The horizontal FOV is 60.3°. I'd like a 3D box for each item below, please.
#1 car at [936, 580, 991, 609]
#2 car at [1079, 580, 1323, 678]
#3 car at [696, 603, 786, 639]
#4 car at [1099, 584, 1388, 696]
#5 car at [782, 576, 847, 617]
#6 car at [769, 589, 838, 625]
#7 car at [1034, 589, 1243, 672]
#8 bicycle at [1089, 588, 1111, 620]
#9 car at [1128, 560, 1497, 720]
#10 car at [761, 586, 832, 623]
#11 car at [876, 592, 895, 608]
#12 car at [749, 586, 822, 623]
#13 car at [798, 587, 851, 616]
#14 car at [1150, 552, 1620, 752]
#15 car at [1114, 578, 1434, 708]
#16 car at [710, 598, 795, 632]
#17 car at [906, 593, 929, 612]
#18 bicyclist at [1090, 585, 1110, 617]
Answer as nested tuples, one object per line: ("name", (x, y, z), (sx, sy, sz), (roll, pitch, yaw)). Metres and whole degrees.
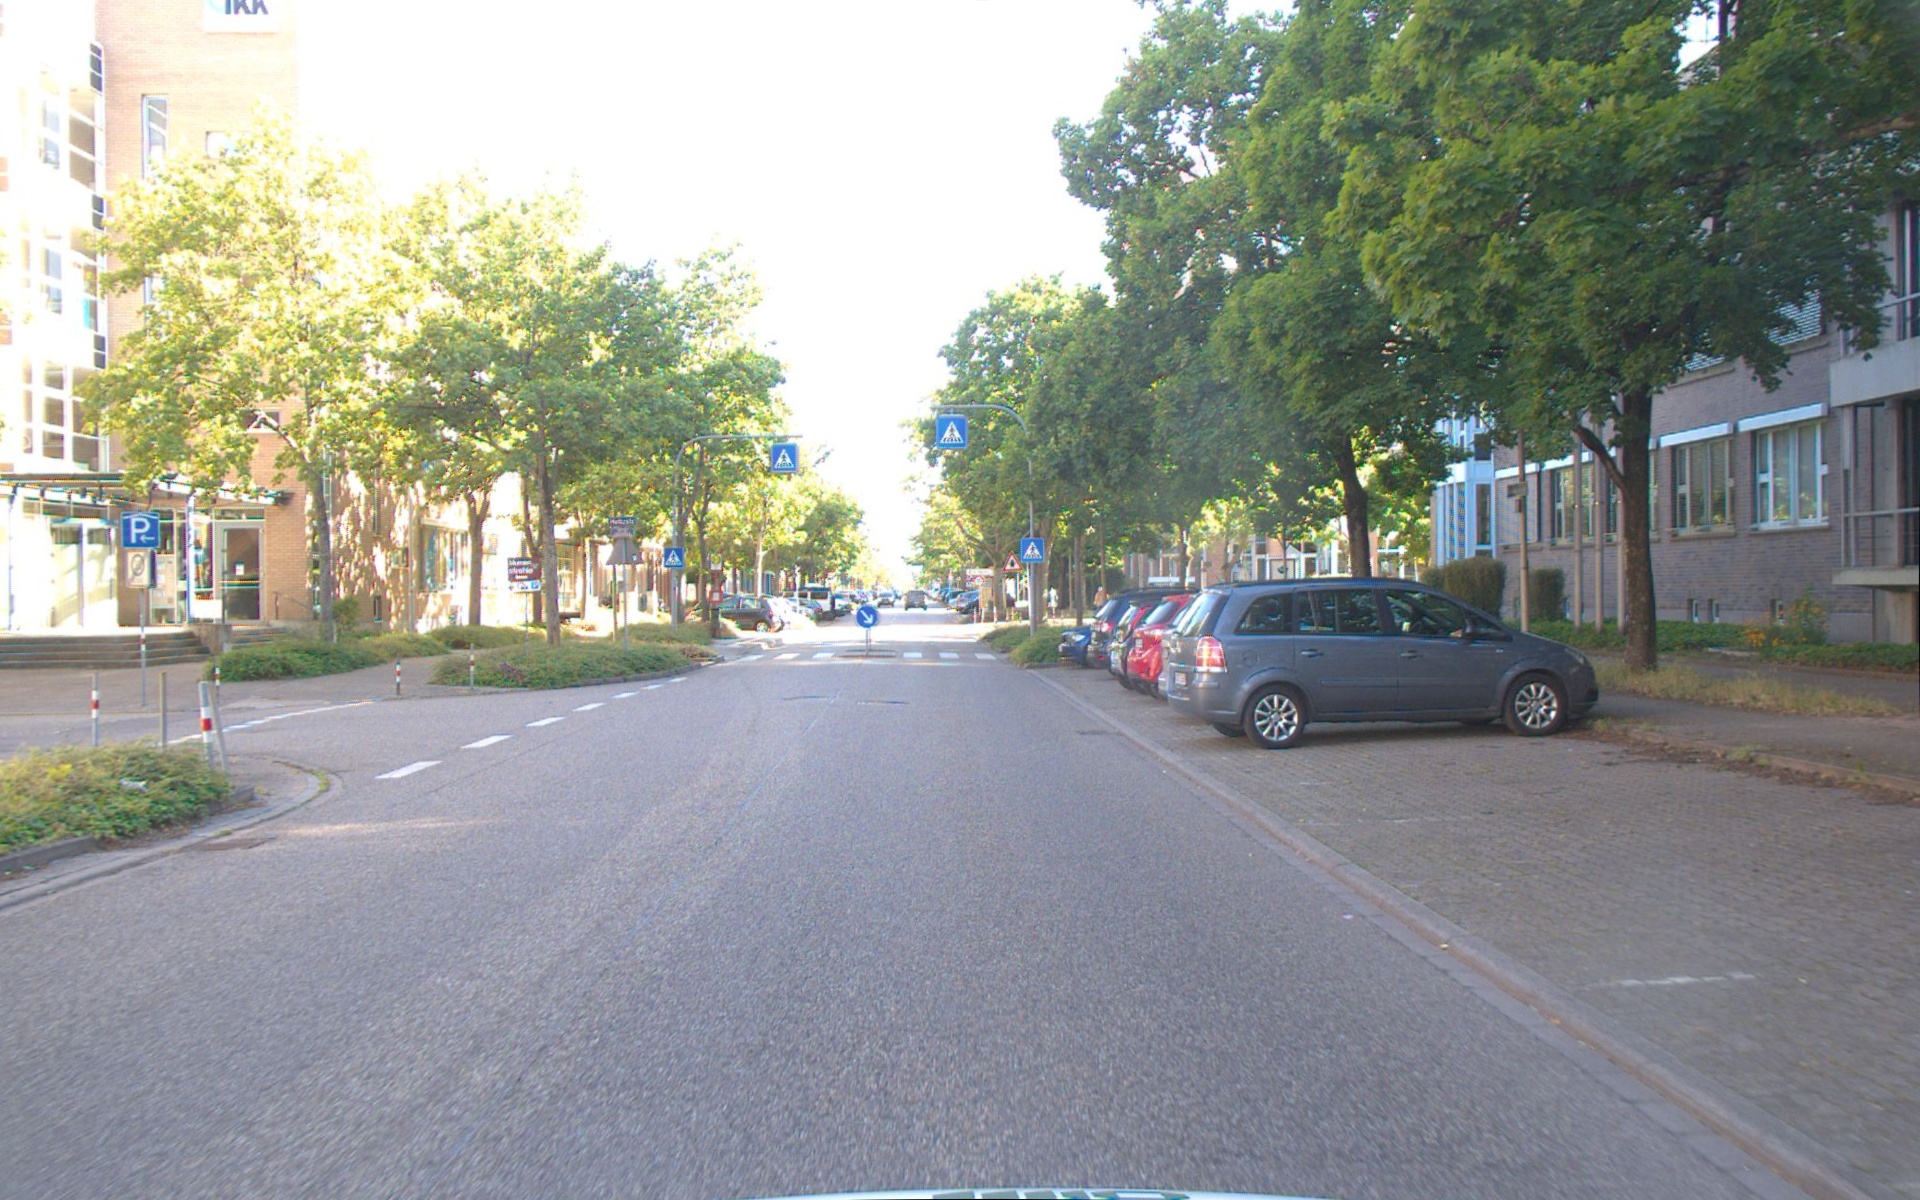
("car", (0.260, -0.405, 121.186), (3.908, 2.049, 1.999), (-1, 0, -4))
("car", (4.398, 0.512, 30.522), (4.109, 1.562, 1.811), (-3, 0, -5))
("car", (-9.407, 0.908, 71.130), (3.775, 1.499, 1.810), (1, 0, -7))
("car", (4.380, 0.599, 25.920), (4.109, 1.474, 1.811), (-3, 0, -5))
("car", (-9.364, -0.218, 106.636), (3.903, 2.586, 1.863), (0, 0, 3))
("car", (-9.566, 0.409, 101.356), (3.904, 2.049, 2.001), (-2, 0, 2))
("car", (3.751, 0.630, 35.163), (4.109, 1.498, 1.811), (-3, 0, -5))
("bicycle", (5.539, 0.148, 65.368), (0.669, 1.236, 1.978), (-1, 0, 9))
("car", (4.317, 0.472, 20.638), (4.109, 1.698, 1.811), (-3, 0, -5))
("car", (-9.754, 0.262, 98.642), (3.904, 2.049, 2.001), (-2, 0, 2))
("car", (-7.785, 0.001, 173.488), (1.777, 1.551, 3.999), (-1, 0, -1))
("car", (-10.092, 0.258, 95.867), (3.904, 2.049, 2.001), (-2, 0, 2))
("car", (-10.285, 0.099, 125.823), (3.908, 2.049, 1.999), (-1, 0, -4))
("car", (4.268, 0.493, 17.009), (4.266, 1.733, 1.811), (-3, 0, -5))
("car", (4.406, 0.582, 23.579), (4.109, 1.562, 1.811), (-3, 0, -5))
("car", (-9.508, 0.685, 75.818), (3.776, 1.499, 1.809), (1, 0, -8))
("car", (-3.769, 0.228, 145.888), (1.953, 1.668, 3.999), (1, 0, -2))
("bicyclist", (5.536, 0.046, 65.356), (0.683, 1.236, 0.946), (-1, 0, 9))
